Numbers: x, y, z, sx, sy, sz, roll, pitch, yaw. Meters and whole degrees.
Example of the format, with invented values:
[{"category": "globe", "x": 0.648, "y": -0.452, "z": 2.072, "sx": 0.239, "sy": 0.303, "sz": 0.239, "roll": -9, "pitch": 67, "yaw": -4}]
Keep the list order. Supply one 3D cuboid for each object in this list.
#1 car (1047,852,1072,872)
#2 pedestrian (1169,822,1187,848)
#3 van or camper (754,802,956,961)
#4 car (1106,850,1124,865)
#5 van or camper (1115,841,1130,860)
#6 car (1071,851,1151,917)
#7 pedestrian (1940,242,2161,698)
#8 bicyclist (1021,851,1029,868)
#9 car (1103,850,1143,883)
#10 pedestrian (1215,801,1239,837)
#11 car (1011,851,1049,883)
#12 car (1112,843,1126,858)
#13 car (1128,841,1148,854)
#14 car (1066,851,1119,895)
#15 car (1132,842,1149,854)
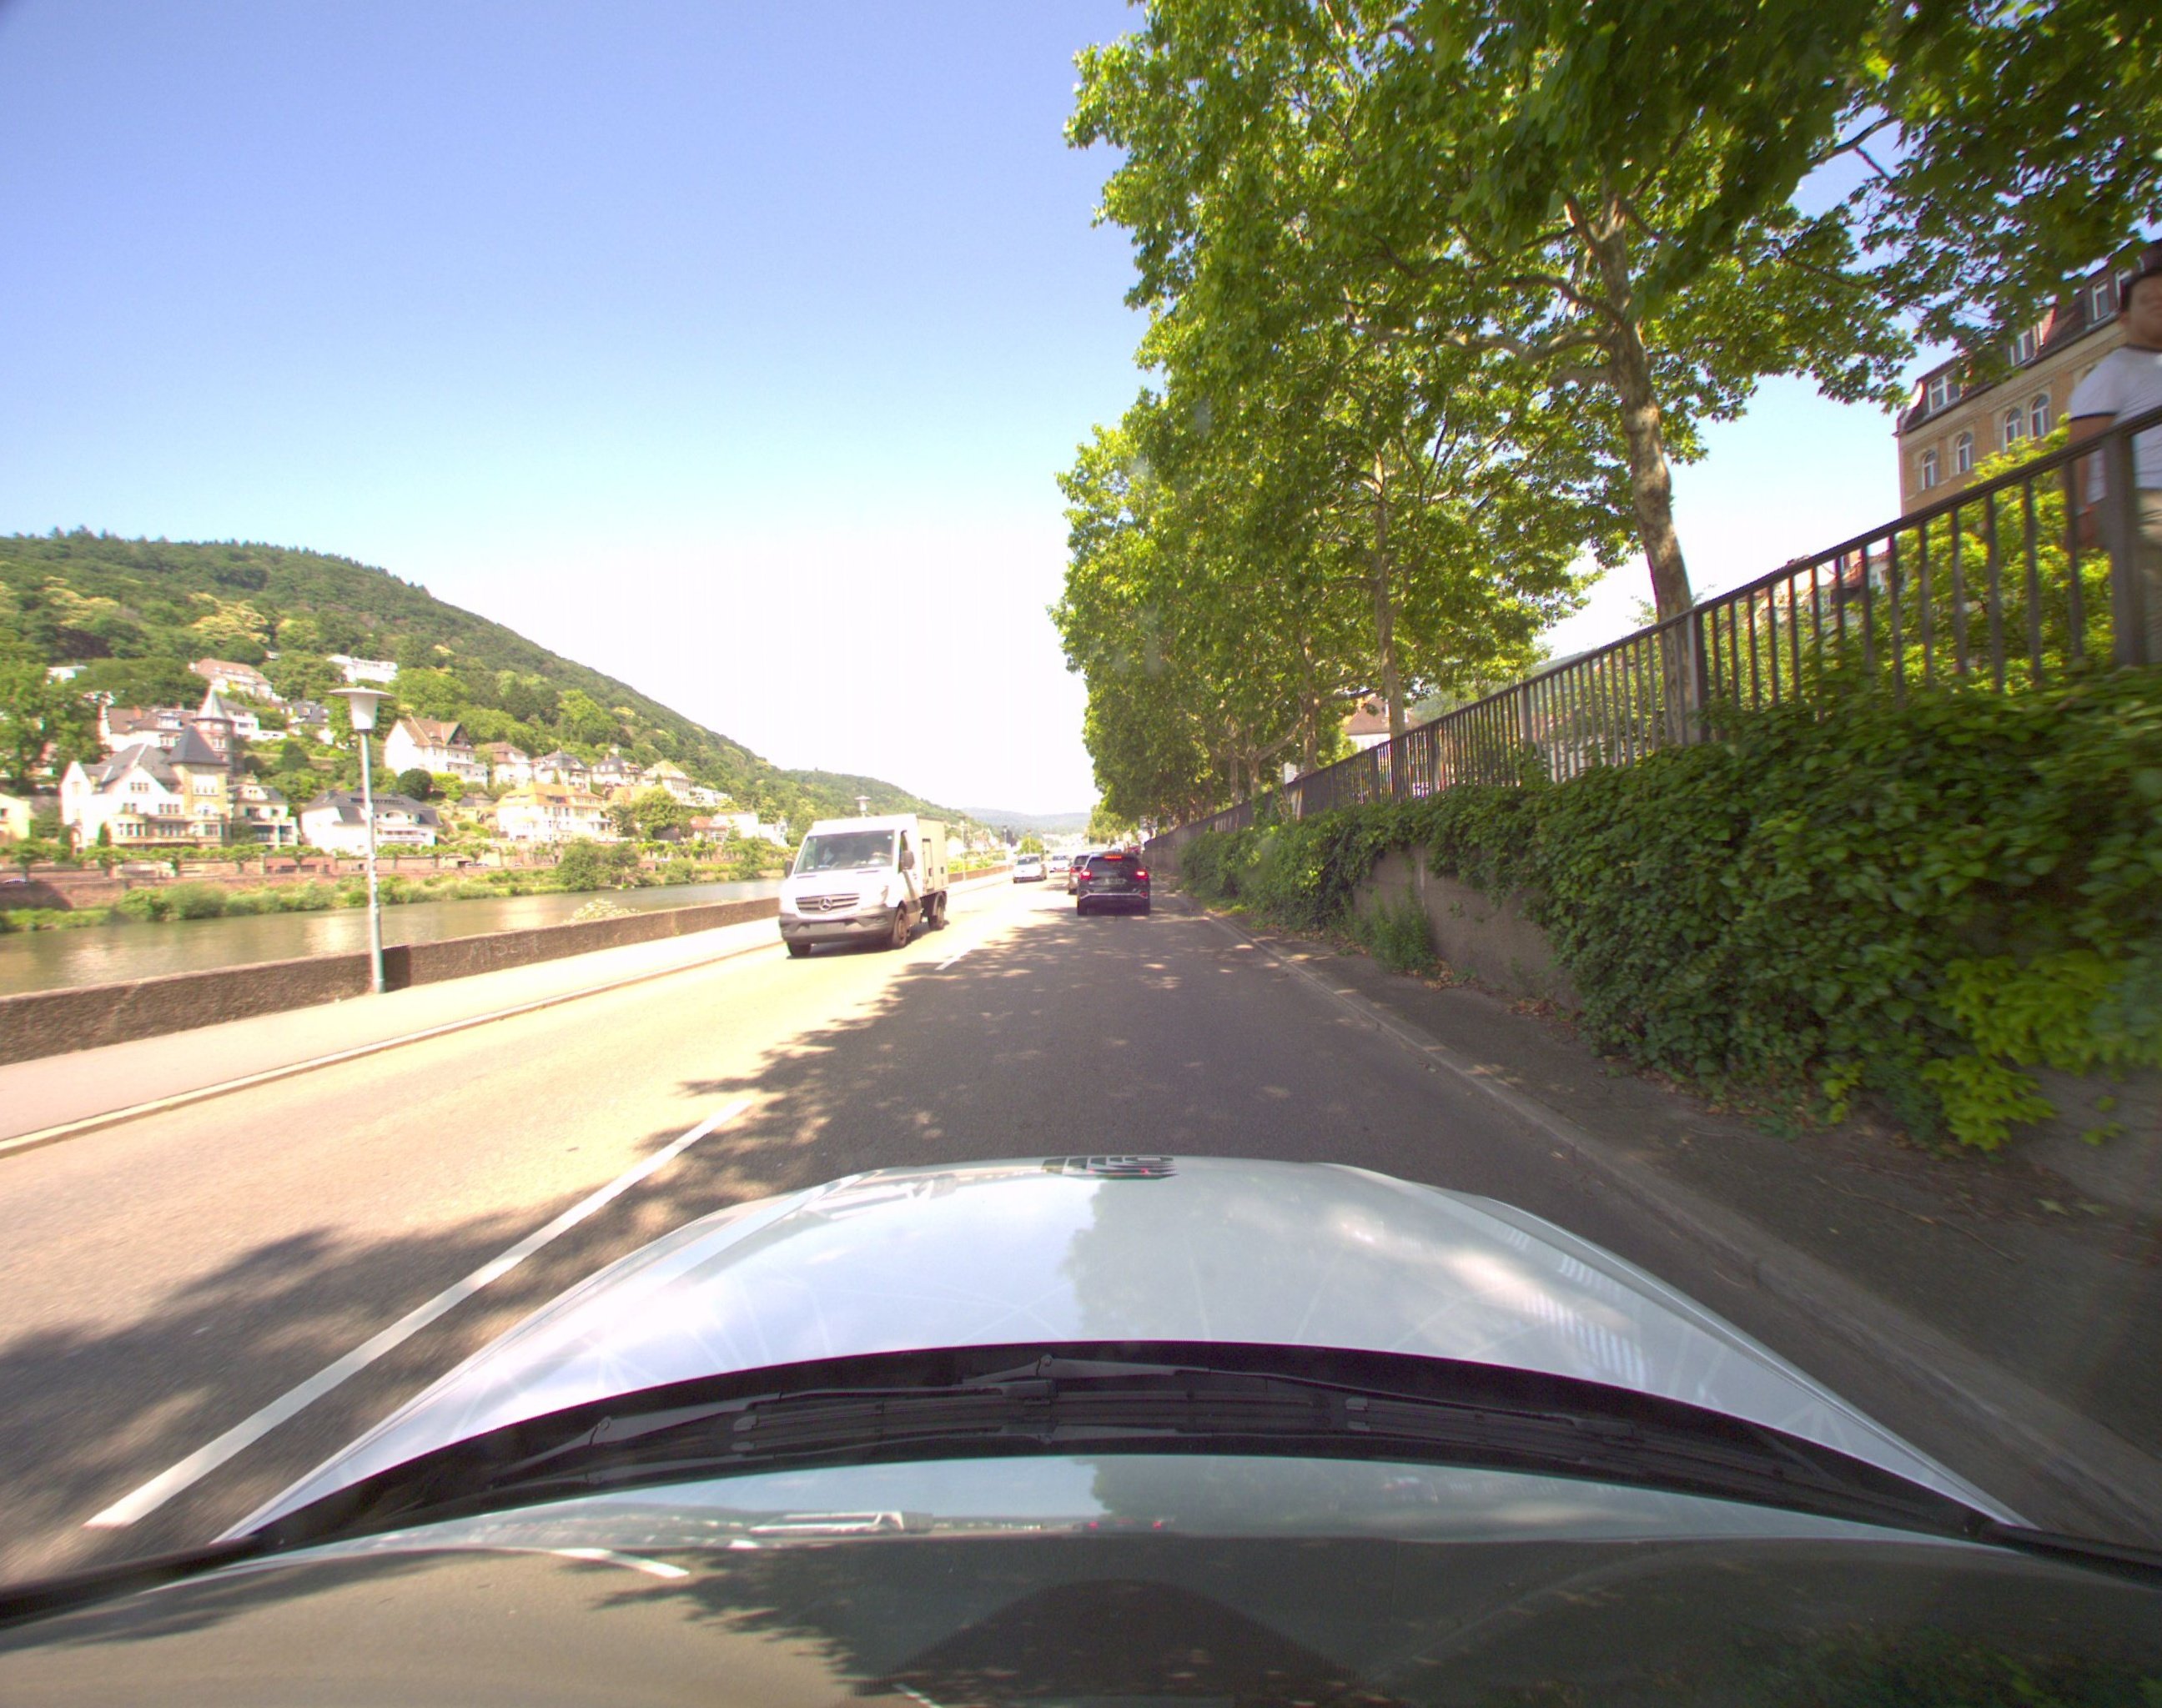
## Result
[{"category": "car", "x": -1.728, "y": 0.659, "z": 67.061, "sx": 1.725, "sy": 1.441, "sz": 4.047, "roll": -4, "pitch": 0, "yaw": 1}, {"category": "pedestrian", "x": 6.361, "y": -1.221, "z": 53.264, "sx": 0.933, "sy": 1.579, "sz": 1.028, "roll": -5, "pitch": 0, "yaw": 0}, {"category": "van or camper", "x": -4.068, "y": 0.439, "z": 15.849, "sx": 2.069, "sy": 2.398, "sz": 5.387, "roll": -5, "pitch": 0, "yaw": 2}, {"category": "car", "x": 3.663, "y": 0.367, "z": 87.670, "sx": 1.822, "sy": 1.444, "sz": 4.001, "roll": -2, "pitch": 0, "yaw": 1}, {"category": "van or camper", "x": 6.713, "y": -0.571, "z": 132.356, "sx": 2.300, "sy": 2.847, "sz": 4.250, "roll": -3, "pitch": 0, "yaw": 3}, {"category": "car", "x": 0.758, "y": 0.693, "z": 20.954, "sx": 1.822, "sy": 1.486, "sz": 4.001, "roll": -2, "pitch": 0, "yaw": 1}, {"category": "pedestrian", "x": 4.297, "y": -1.527, "z": 3.397, "sx": 0.662, "sy": 1.591, "sz": 0.651, "roll": -3, "pitch": 0, "yaw": 1}, {"category": "bicyclist", "x": -5.576, "y": 0.562, "z": 81.453, "sx": 0.635, "sy": 1.673, "sz": 0.871, "roll": -3, "pitch": 0, "yaw": 1}, {"category": "car", "x": 1.999, "y": 0.574, "z": 40.022, "sx": 1.822, "sy": 1.486, "sz": 4.001, "roll": -2, "pitch": 0, "yaw": 1}, {"category": "pedestrian", "x": 5.968, "y": -1.437, "z": 33.320, "sx": 0.751, "sy": 1.365, "sz": 0.814, "roll": -5, "pitch": 0, "yaw": 0}, {"category": "car", "x": -2.952, "y": 0.725, "z": 48.059, "sx": 1.725, "sy": 1.650, "sz": 4.178, "roll": -4, "pitch": 0, "yaw": 1}, {"category": "car", "x": 5.617, "y": -0.492, "z": 121.383, "sx": 1.986, "sy": 2.169, "sz": 4.001, "roll": -2, "pitch": 0, "yaw": 1}, {"category": "car", "x": 10.018, "y": -1.129, "z": 143.668, "sx": 3.087, "sy": 2.013, "sz": 5.826, "roll": -5, "pitch": 0, "yaw": 1}, {"category": "car", "x": 0.443, "y": 0.663, "z": 30.653, "sx": 1.822, "sy": 1.511, "sz": 4.001, "roll": -2, "pitch": 0, "yaw": 1}, {"category": "car", "x": 11.220, "y": -1.072, "z": 154.034, "sx": 2.652, "sy": 2.013, "sz": 5.826, "roll": -5, "pitch": 0, "yaw": 1}]
